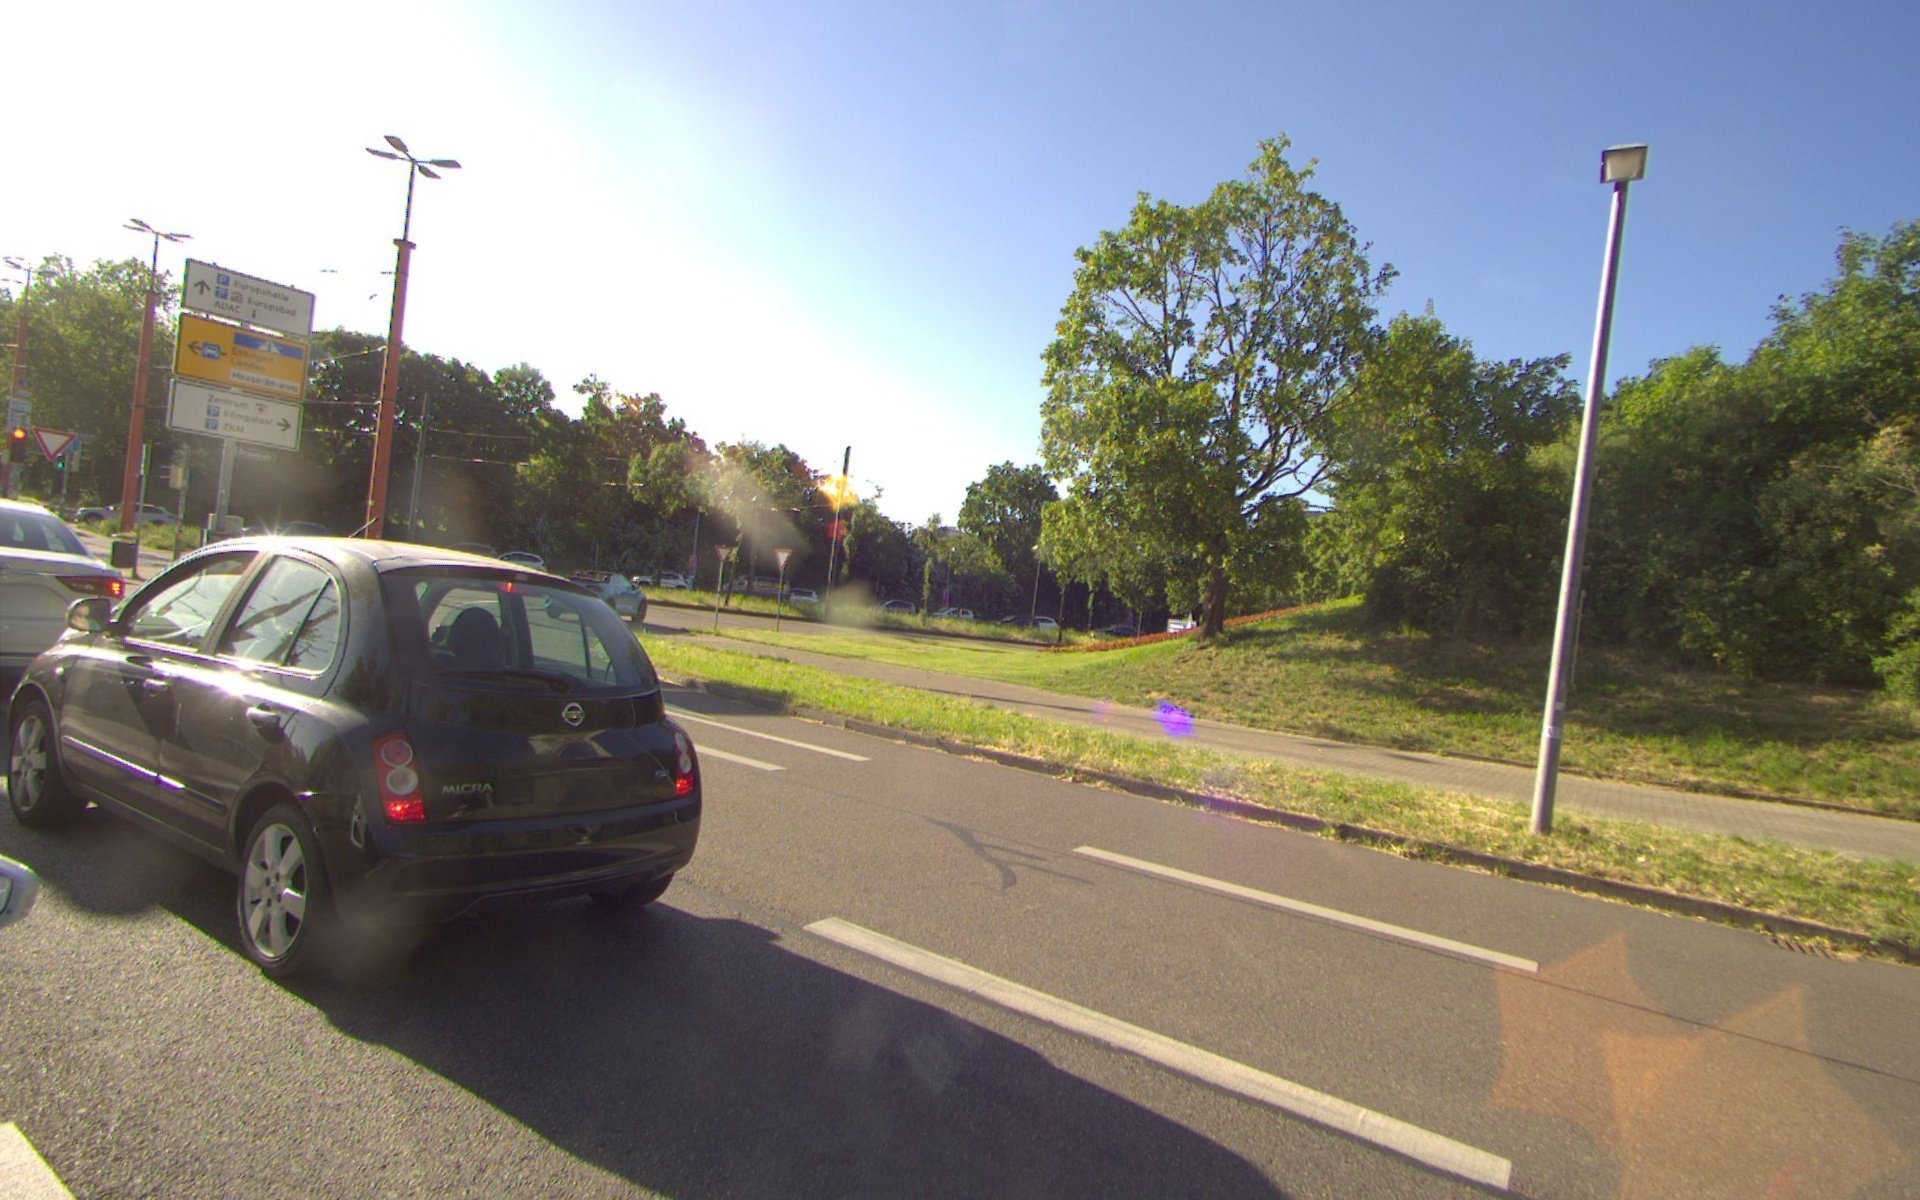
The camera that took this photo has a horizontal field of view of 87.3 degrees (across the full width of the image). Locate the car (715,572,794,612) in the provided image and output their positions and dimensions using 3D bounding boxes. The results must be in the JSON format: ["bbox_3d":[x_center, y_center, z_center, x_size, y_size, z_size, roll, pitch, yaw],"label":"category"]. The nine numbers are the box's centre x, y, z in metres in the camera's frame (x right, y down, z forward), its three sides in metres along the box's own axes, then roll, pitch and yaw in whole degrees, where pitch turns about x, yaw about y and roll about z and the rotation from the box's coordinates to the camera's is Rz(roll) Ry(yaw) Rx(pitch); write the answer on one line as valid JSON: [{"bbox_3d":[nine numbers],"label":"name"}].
[{"bbox_3d":[-13.458,-0.517,65.833,4.531,2.038,1.987,8,0,-27],"label":"car"}]

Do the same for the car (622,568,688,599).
[{"bbox_3d":[-19.821,-1.044,65.417,3.710,1.491,1.587,8,-1,-32],"label":"car"}]

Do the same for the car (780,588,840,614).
[{"bbox_3d":[-10.629,0.078,71.396,3.804,1.278,1.590,9,-3,-32],"label":"car"}]

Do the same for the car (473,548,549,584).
[{"bbox_3d":[-25.976,-1.970,58.217,3.790,1.541,1.682,8,-1,-30],"label":"car"}]

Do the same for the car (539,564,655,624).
[{"bbox_3d":[-10.981,-0.127,30.765,1.707,1.468,4.133,8,-1,3],"label":"car"}]

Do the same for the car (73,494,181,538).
[{"bbox_3d":[-42.564,-4.276,51.519,3.937,1.457,1.674,9,-2,-31],"label":"car"}]

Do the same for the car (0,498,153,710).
[{"bbox_3d":[-8.359,-0.174,8.019,4.130,1.454,1.723,7,-1,33],"label":"car"}]

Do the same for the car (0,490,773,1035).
[{"bbox_3d":[-2.839,0.468,4.697,3.555,1.518,1.657,7,-2,32],"label":"car"}]

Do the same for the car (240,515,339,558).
[{"bbox_3d":[-34.964,-3.281,52.581,4.089,1.617,1.814,8,-1,-31],"label":"car"}]

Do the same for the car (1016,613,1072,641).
[{"bbox_3d":[6.787,2.191,81.297,4.195,1.701,1.690,8,-1,-29],"label":"car"}]

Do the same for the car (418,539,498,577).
[{"bbox_3d":[-30.084,-2.516,60.331,4.090,1.663,1.838,8,-1,-31],"label":"car"}]

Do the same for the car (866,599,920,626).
[{"bbox_3d":[-4.723,0.894,70.996,3.369,1.475,1.453,8,-1,-31],"label":"car"}]

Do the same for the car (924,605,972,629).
[{"bbox_3d":[-0.907,1.306,76.784,3.413,1.384,1.280,9,-2,-31],"label":"car"}]

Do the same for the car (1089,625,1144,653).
[{"bbox_3d":[12.489,3.117,80.159,3.962,1.662,1.792,9,-2,-33],"label":"car"}]
